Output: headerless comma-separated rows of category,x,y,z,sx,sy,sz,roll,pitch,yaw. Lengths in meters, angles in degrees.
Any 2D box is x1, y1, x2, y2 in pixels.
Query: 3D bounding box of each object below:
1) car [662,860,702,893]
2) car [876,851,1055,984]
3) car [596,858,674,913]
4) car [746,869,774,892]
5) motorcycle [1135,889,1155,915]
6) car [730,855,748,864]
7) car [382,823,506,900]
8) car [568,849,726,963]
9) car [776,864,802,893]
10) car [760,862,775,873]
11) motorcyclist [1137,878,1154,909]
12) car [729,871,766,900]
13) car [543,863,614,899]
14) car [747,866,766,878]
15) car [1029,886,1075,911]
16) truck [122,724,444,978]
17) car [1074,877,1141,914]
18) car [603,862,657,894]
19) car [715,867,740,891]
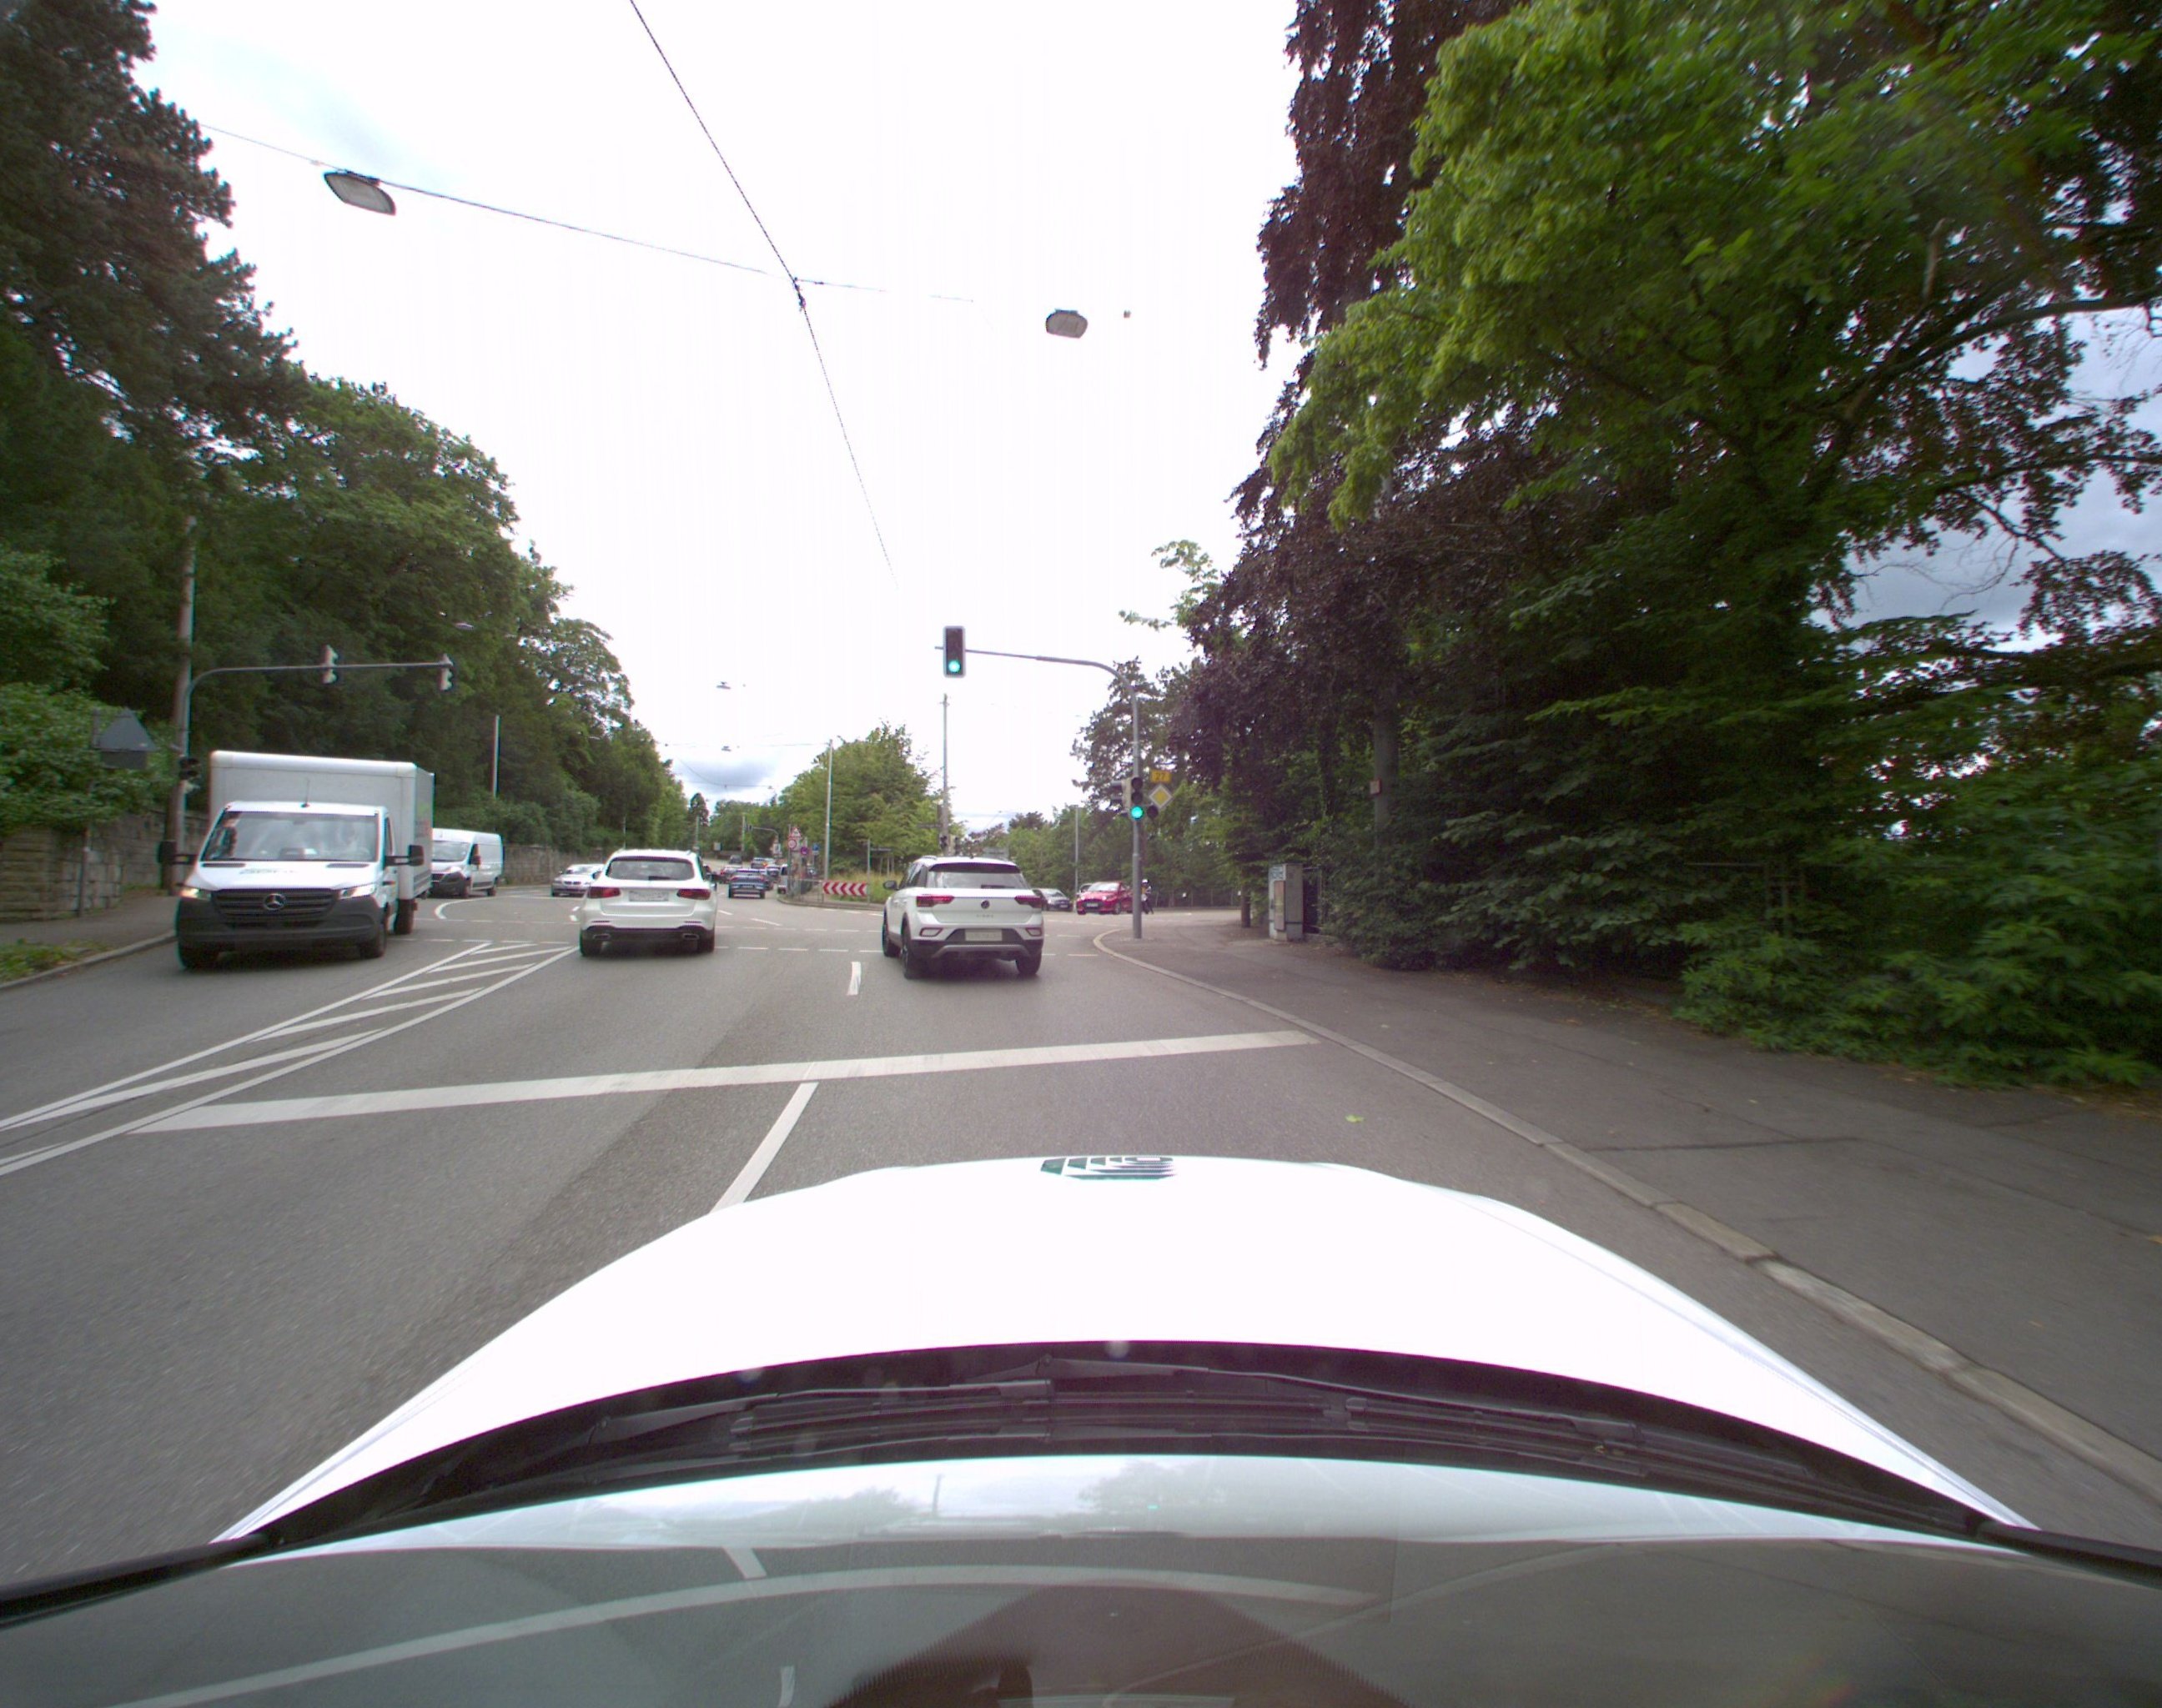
car,-22.077,1.206,45.137,1.796,1.636,3.706,3,-1,-25
car,-1.891,0.766,11.952,1.760,1.553,4.308,0,0,-20
car,-13.716,0.938,24.991,1.876,1.534,4.730,2,-2,-30
car,-21.948,1.816,55.629,1.691,1.424,3.682,2,-1,-22
motorcycle,3.061,2.271,38.812,0.594,1.152,1.588,-2,-2,18
car,-54.771,0.875,130.510,1.660,1.451,3.504,2,-2,-41
car,-22.844,0.319,29.512,2.002,2.413,5.848,4,-3,-24
car,-7.227,0.722,14.027,1.866,1.605,4.637,0,0,-22
car,-18.480,1.502,51.516,1.500,1.749,3.096,2,-1,-20
car,-43.995,1.925,114.206,1.655,1.451,3.515,2,-1,-27
motorcyclist,3.085,1.880,38.915,0.594,1.430,0.760,-2,-2,18
car,-17.569,1.648,42.974,1.634,1.420,3.826,3,-3,-22
car,-22.539,1.183,36.693,1.762,1.442,4.448,4,-2,-20
car,-40.052,2.189,100.513,1.657,1.451,3.511,2,-1,-31
car,-1.899,2.837,51.509,1.723,1.486,3.970,1,-4,-21
truck,-12.279,-0.086,13.196,2.418,3.088,6.280,0,1,-32
car,1.191,1.804,34.940,1.653,1.468,3.974,-2,-4,20
car,-25.740,1.354,46.623,2.001,1.637,4.366,4,-3,-21
car,-28.145,1.941,64.823,1.642,1.820,3.965,0,-1,-26
